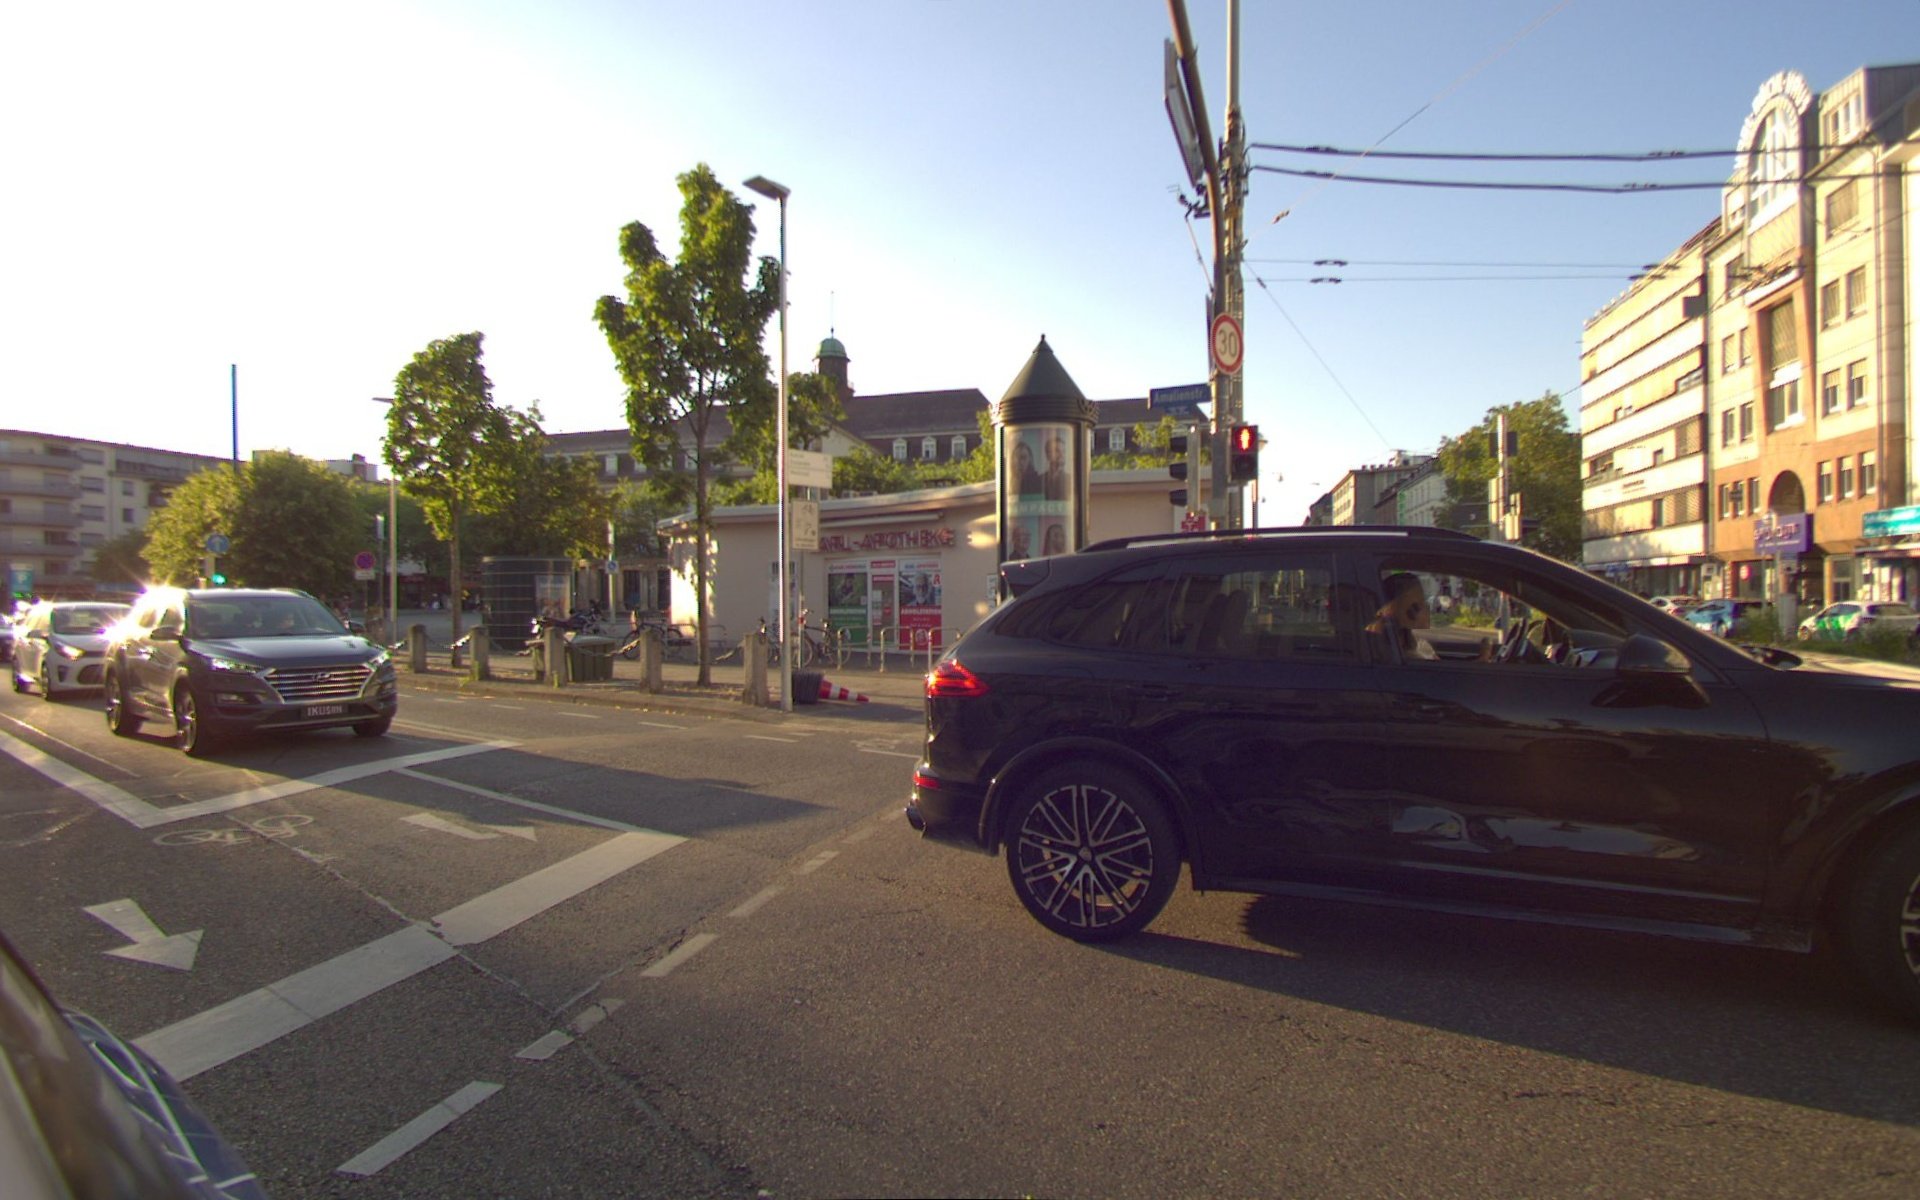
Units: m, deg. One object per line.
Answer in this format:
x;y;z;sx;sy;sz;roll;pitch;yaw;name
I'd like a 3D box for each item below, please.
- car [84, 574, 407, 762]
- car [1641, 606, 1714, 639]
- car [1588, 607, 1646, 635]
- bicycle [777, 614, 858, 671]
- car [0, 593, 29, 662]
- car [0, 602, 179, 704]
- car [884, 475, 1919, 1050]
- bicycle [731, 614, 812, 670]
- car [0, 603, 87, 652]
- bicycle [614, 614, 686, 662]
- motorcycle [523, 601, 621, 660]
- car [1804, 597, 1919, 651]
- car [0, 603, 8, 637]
-8.040;0.636;11.247;4.254;1.710;1.805;-1;0;38;car
30.332;0.938;42.889;1.447;1.301;3.131;-3;-2;15;car
32.310;1.024;49.832;1.447;1.301;3.131;-3;-2;15;car
-2.947;0.860;21.028;0.448;1.122;1.847;0;0;40;bicycle
-25.987;0.700;26.545;3.982;1.754;1.804;-1;-2;40;car
-14.526;0.793;16.778;3.982;1.483;1.697;-1;0;40;car
2.105;0.487;4.314;4.540;1.710;1.792;-1;0;23;car
-4.002;0.875;21.653;0.448;1.122;1.847;0;0;40;bicycle
-32.685;0.937;35.953;3.995;1.615;1.857;-1;0;39;car
-7.570;0.914;24.790;0.395;1.111;1.788;-1;0;38;bicycle
-10.152;0.767;26.584;0.700;1.457;2.369;-1;0;38;motorcycle
27.070;0.692;30.130;1.622;1.475;3.371;-3;-2;15;car
-50.468;0.995;51.981;3.982;1.711;1.804;-1;-3;40;car
